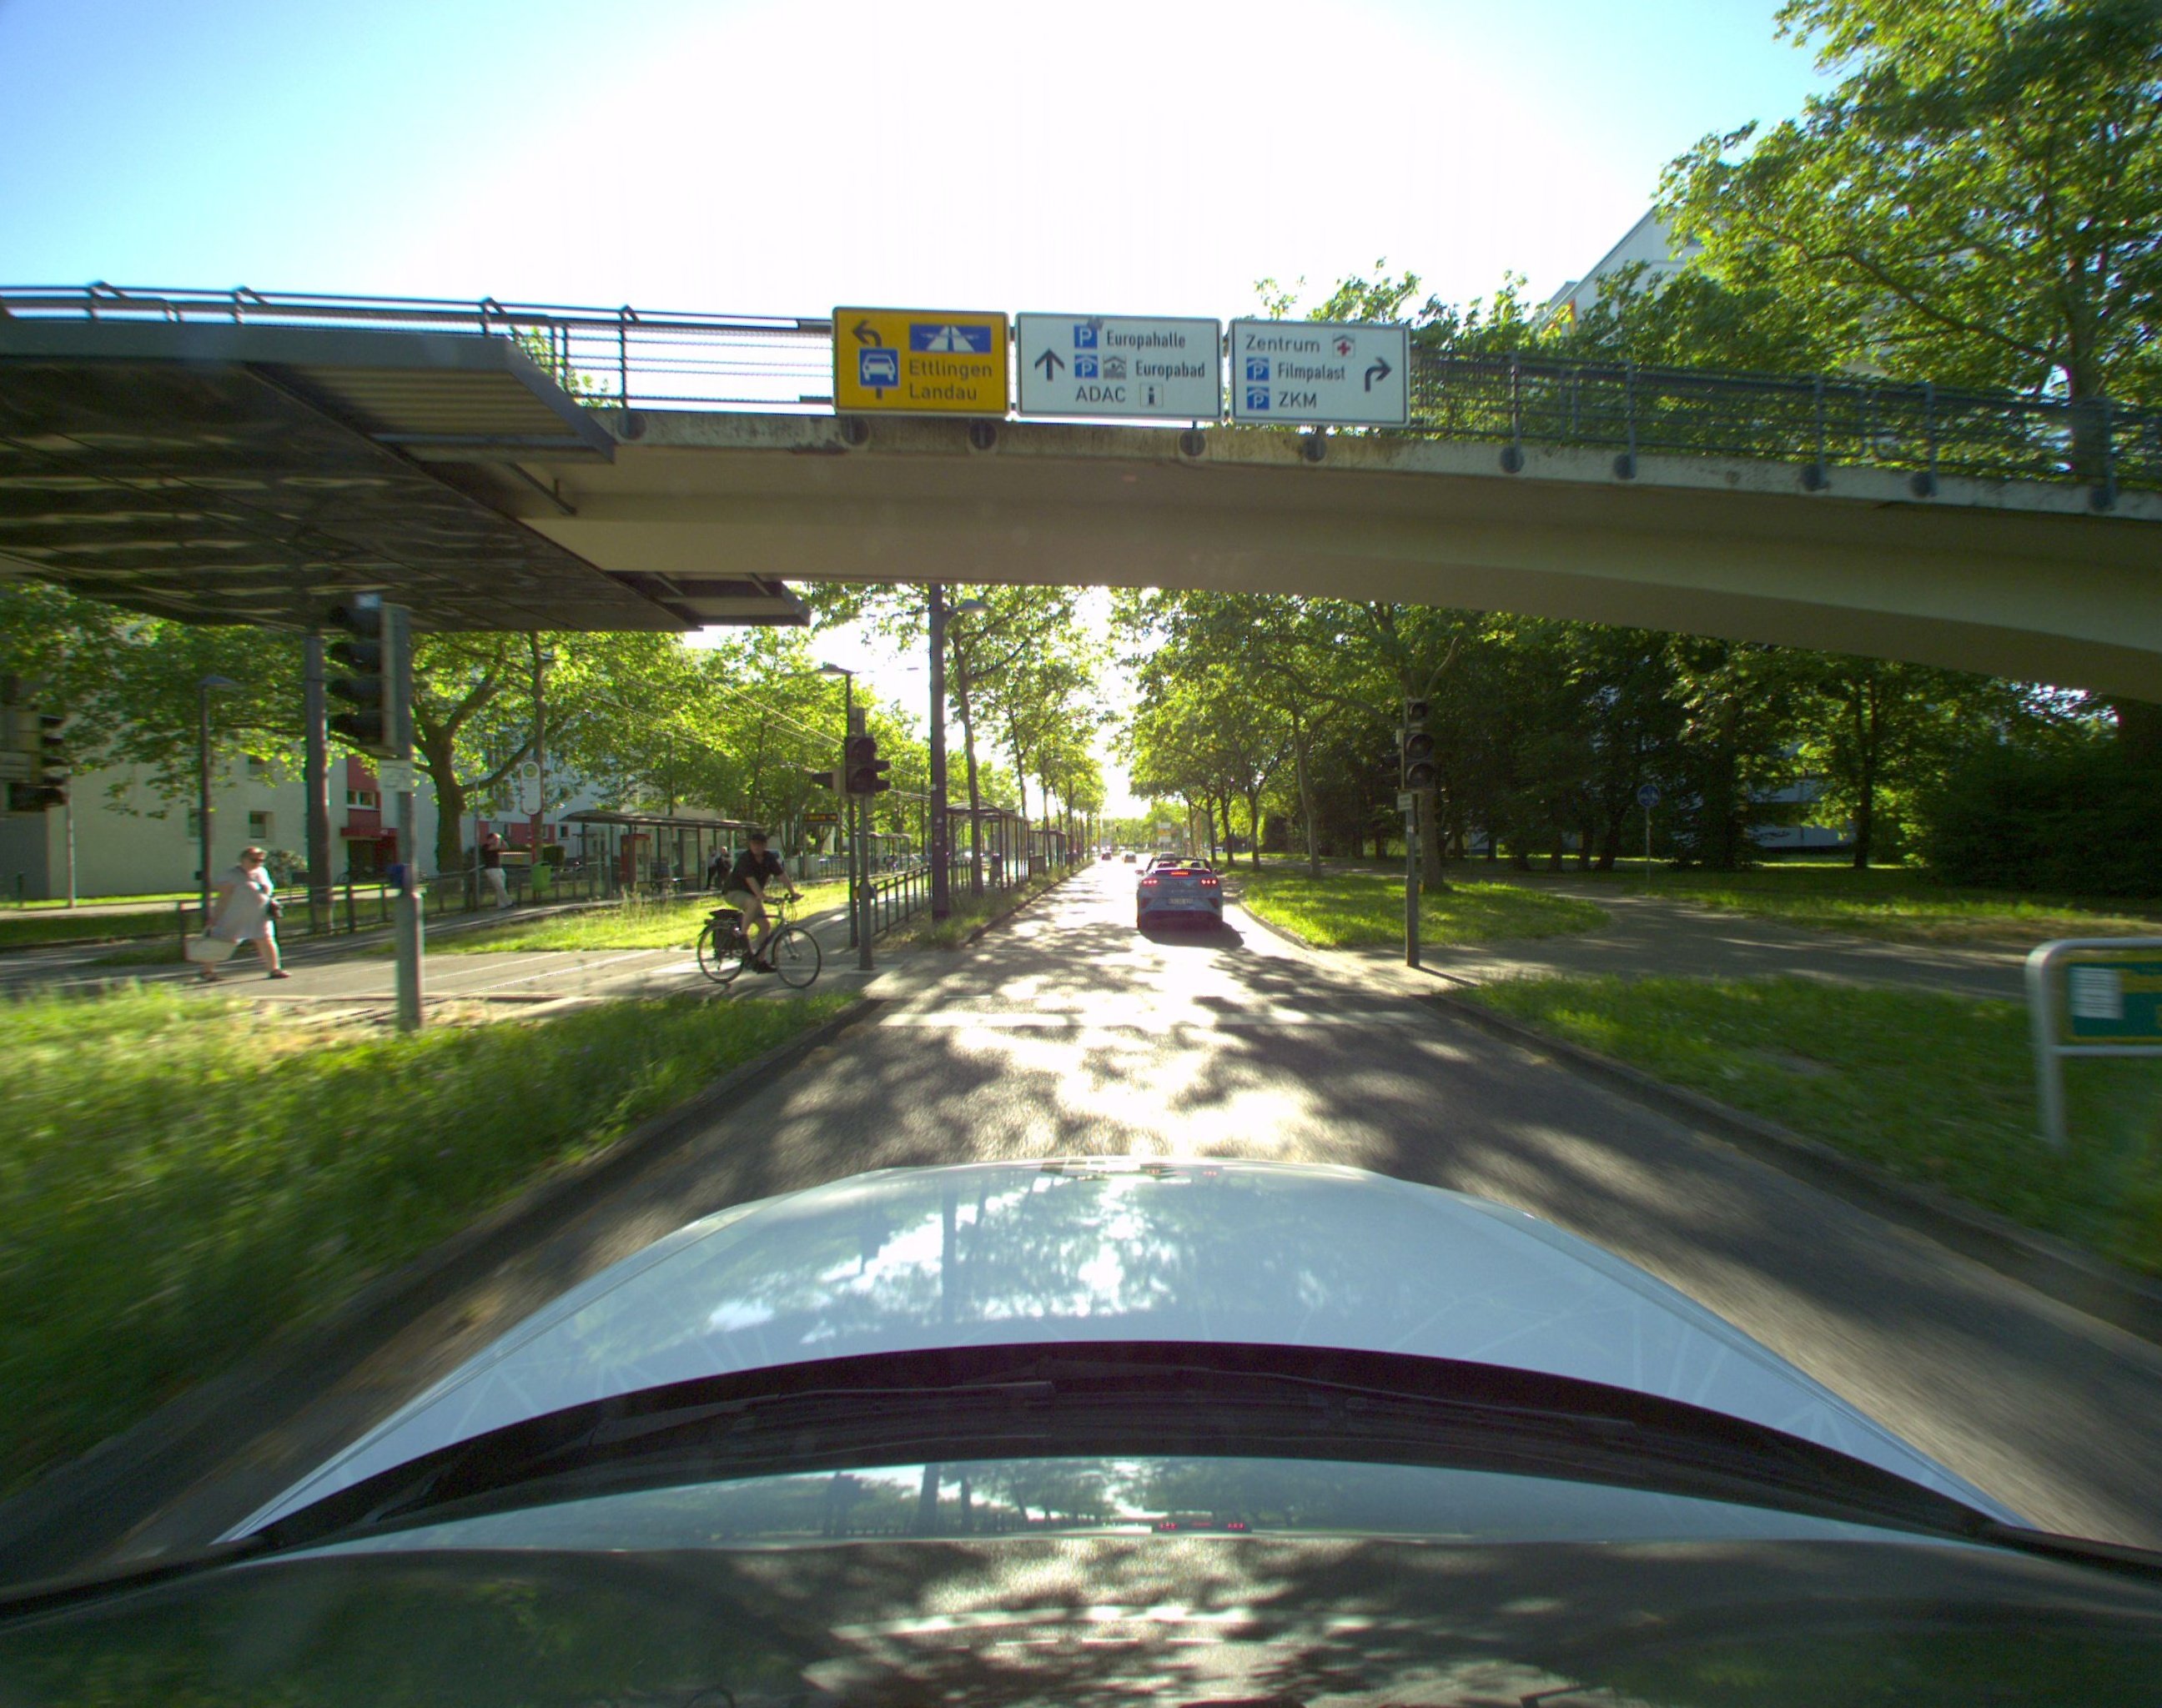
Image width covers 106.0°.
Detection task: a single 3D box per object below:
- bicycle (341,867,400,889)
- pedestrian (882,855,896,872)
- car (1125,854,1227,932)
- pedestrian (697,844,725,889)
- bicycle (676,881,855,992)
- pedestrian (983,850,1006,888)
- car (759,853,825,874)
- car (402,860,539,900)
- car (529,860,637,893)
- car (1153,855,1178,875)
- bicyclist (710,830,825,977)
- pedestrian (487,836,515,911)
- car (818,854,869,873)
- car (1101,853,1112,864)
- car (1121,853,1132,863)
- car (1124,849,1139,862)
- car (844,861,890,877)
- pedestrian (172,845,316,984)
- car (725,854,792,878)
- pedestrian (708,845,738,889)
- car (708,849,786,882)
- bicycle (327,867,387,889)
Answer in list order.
[{"bbox_3d":[-34.970,1.161,40.126,0.693,0.928,2.594,0,1,-2],"label":"bicycle"},{"bbox_3d":[-13.098,0.640,55.679,0.692,1.127,0.662,-4,-1,2],"label":"pedestrian"},{"bbox_3d":[1.980,0.767,18.041,1.770,1.483,4.100,1,0,0],"label":"car"},{"bbox_3d":[-13.529,0.450,29.766,0.719,1.634,0.722,-1,-1,-41],"label":"pedestrian"},{"bbox_3d":[-3.725,0.937,9.655,1.817,1.147,0.818,1,1,15],"label":"bicycle"},{"bbox_3d":[-2.909,0.488,27.320,0.732,1.252,0.587,0,-1,-5],"label":"pedestrian"},{"bbox_3d":[-22.709,0.703,64.104,1.876,1.504,4.527,1,1,43],"label":"car"},{"bbox_3d":[-24.010,0.985,32.158,4.219,1.428,1.681,0,1,-37],"label":"car"},{"bbox_3d":[-23.658,1.025,38.741,4.219,1.428,1.681,0,1,-37],"label":"car"},{"bbox_3d":[7.821,0.969,75.513,1.974,1.792,4.616,0,0,2],"label":"car"},{"bbox_3d":[-3.695,0.546,9.643,0.946,1.632,0.818,1,1,15],"label":"bicyclist"},{"bbox_3d":[-13.839,0.461,19.431,0.506,1.770,0.478,1,-1,-39],"label":"pedestrian"},{"bbox_3d":[-20.954,0.796,71.862,1.556,1.568,4.084,2,2,43],"label":"car"},{"bbox_3d":[3.868,0.715,123.118,1.704,1.603,3.350,0,0,1],"label":"car"},{"bbox_3d":[6.984,0.560,124.175,1.671,1.475,4.133,0,0,3],"label":"car"},{"bbox_3d":[6.129,0.130,98.481,1.633,1.494,3.504,0,1,1],"label":"car"},{"bbox_3d":[-21.094,1.458,80.446,1.626,1.544,4.201,1,1,43],"label":"car"},{"bbox_3d":[-10.567,0.729,10.329,0.723,1.674,1.048,0,-1,-2],"label":"pedestrian"},{"bbox_3d":[-22.806,0.825,57.701,4.082,1.610,1.669,0,1,-42],"label":"car"},{"bbox_3d":[-12.758,0.464,29.054,0.637,1.514,0.687,-2,0,19],"label":"pedestrian"},{"bbox_3d":[-22.537,0.751,54.958,4.521,2.063,1.879,0,1,-37],"label":"car"},{"bbox_3d":[-35.659,1.157,40.148,0.693,0.928,2.594,0,1,-2],"label":"bicycle"}]
